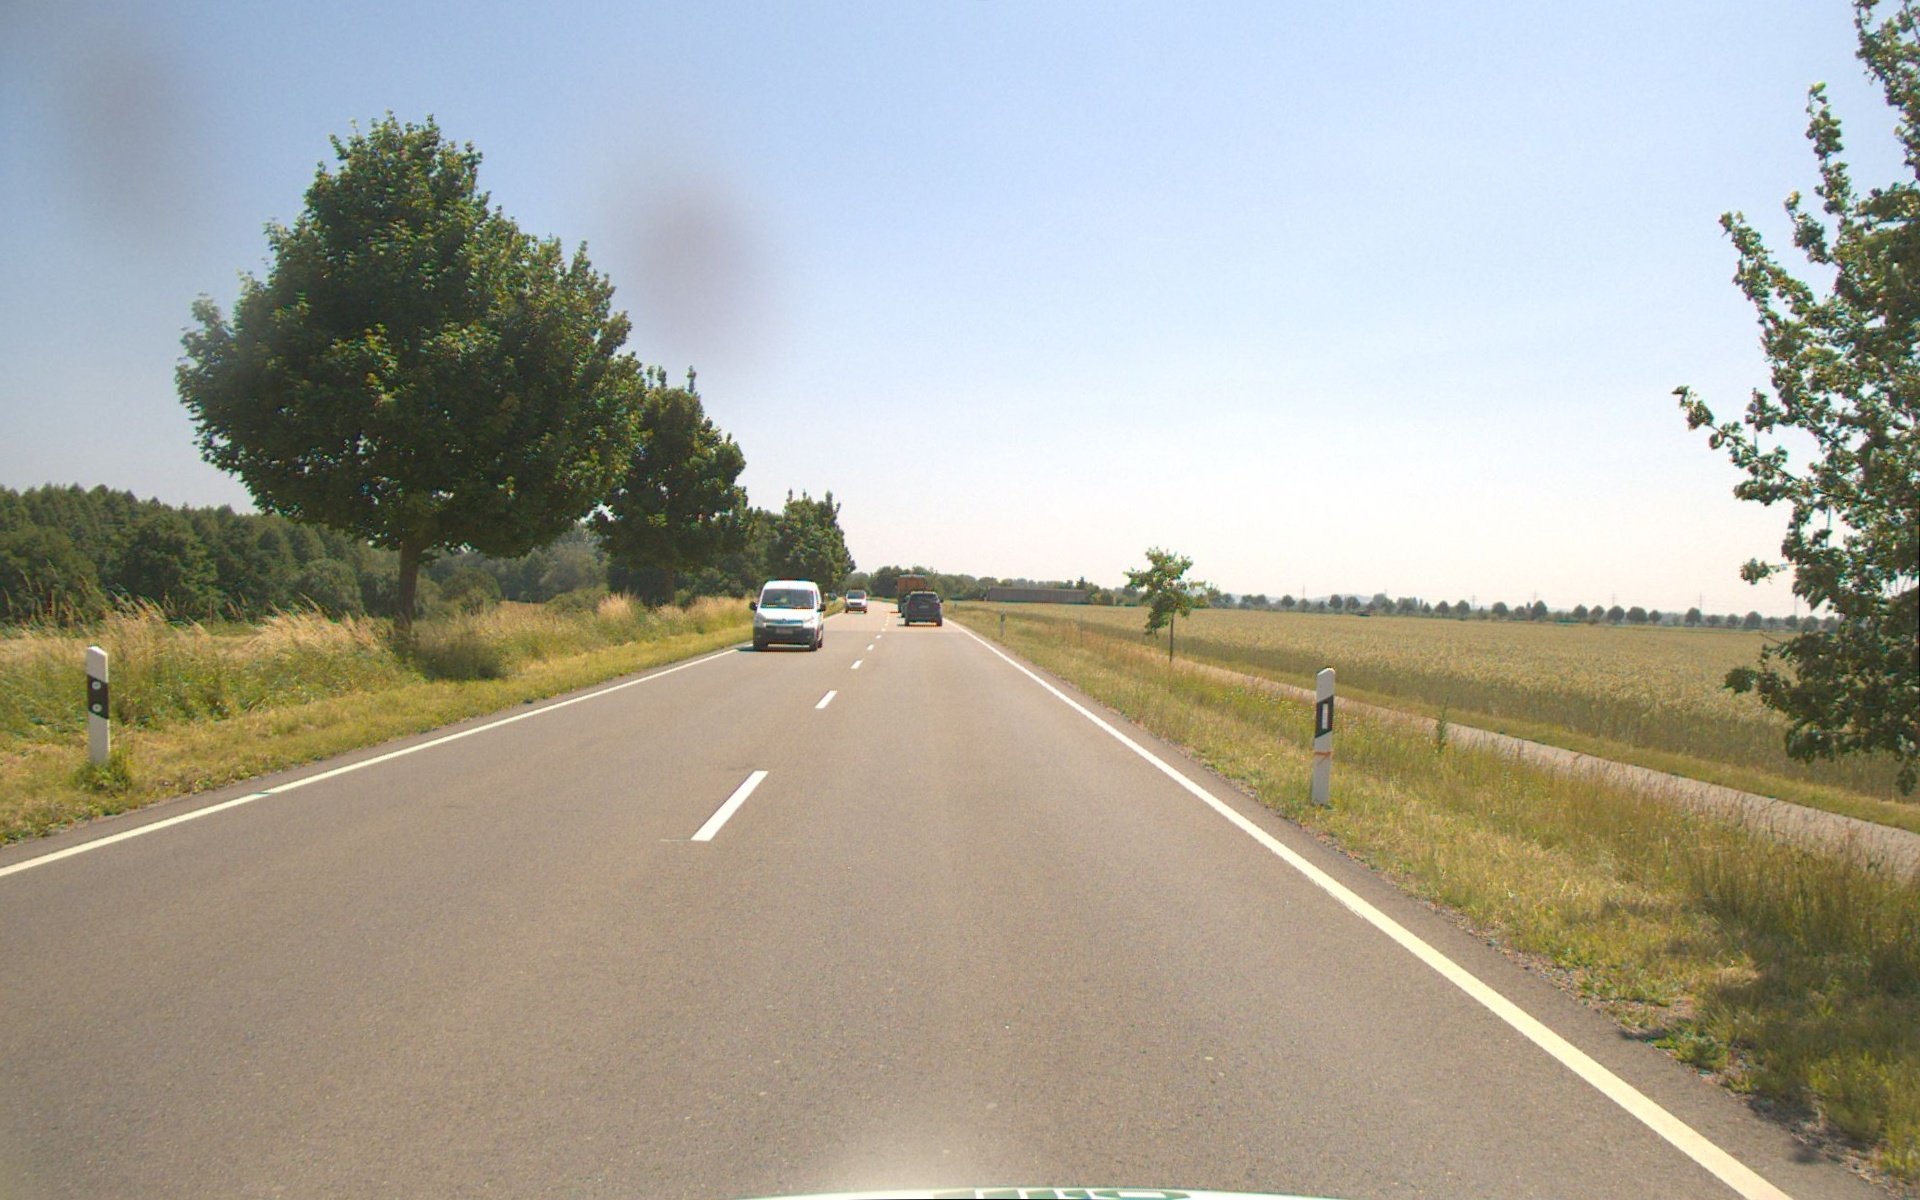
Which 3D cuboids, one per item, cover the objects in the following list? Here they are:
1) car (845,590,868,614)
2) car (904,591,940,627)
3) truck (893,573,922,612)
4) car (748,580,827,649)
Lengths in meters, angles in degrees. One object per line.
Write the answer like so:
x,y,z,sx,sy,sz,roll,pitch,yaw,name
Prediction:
-8.213,0.137,131.460,1.691,1.872,3.997,1,0,-3,car
-1.858,0.431,82.222,1.679,1.723,3.988,1,0,0,car
-4.487,-0.602,141.224,2.323,3.195,8.744,1,0,-2,truck
-4.656,0.382,45.101,1.750,1.759,4.303,1,0,-1,car
